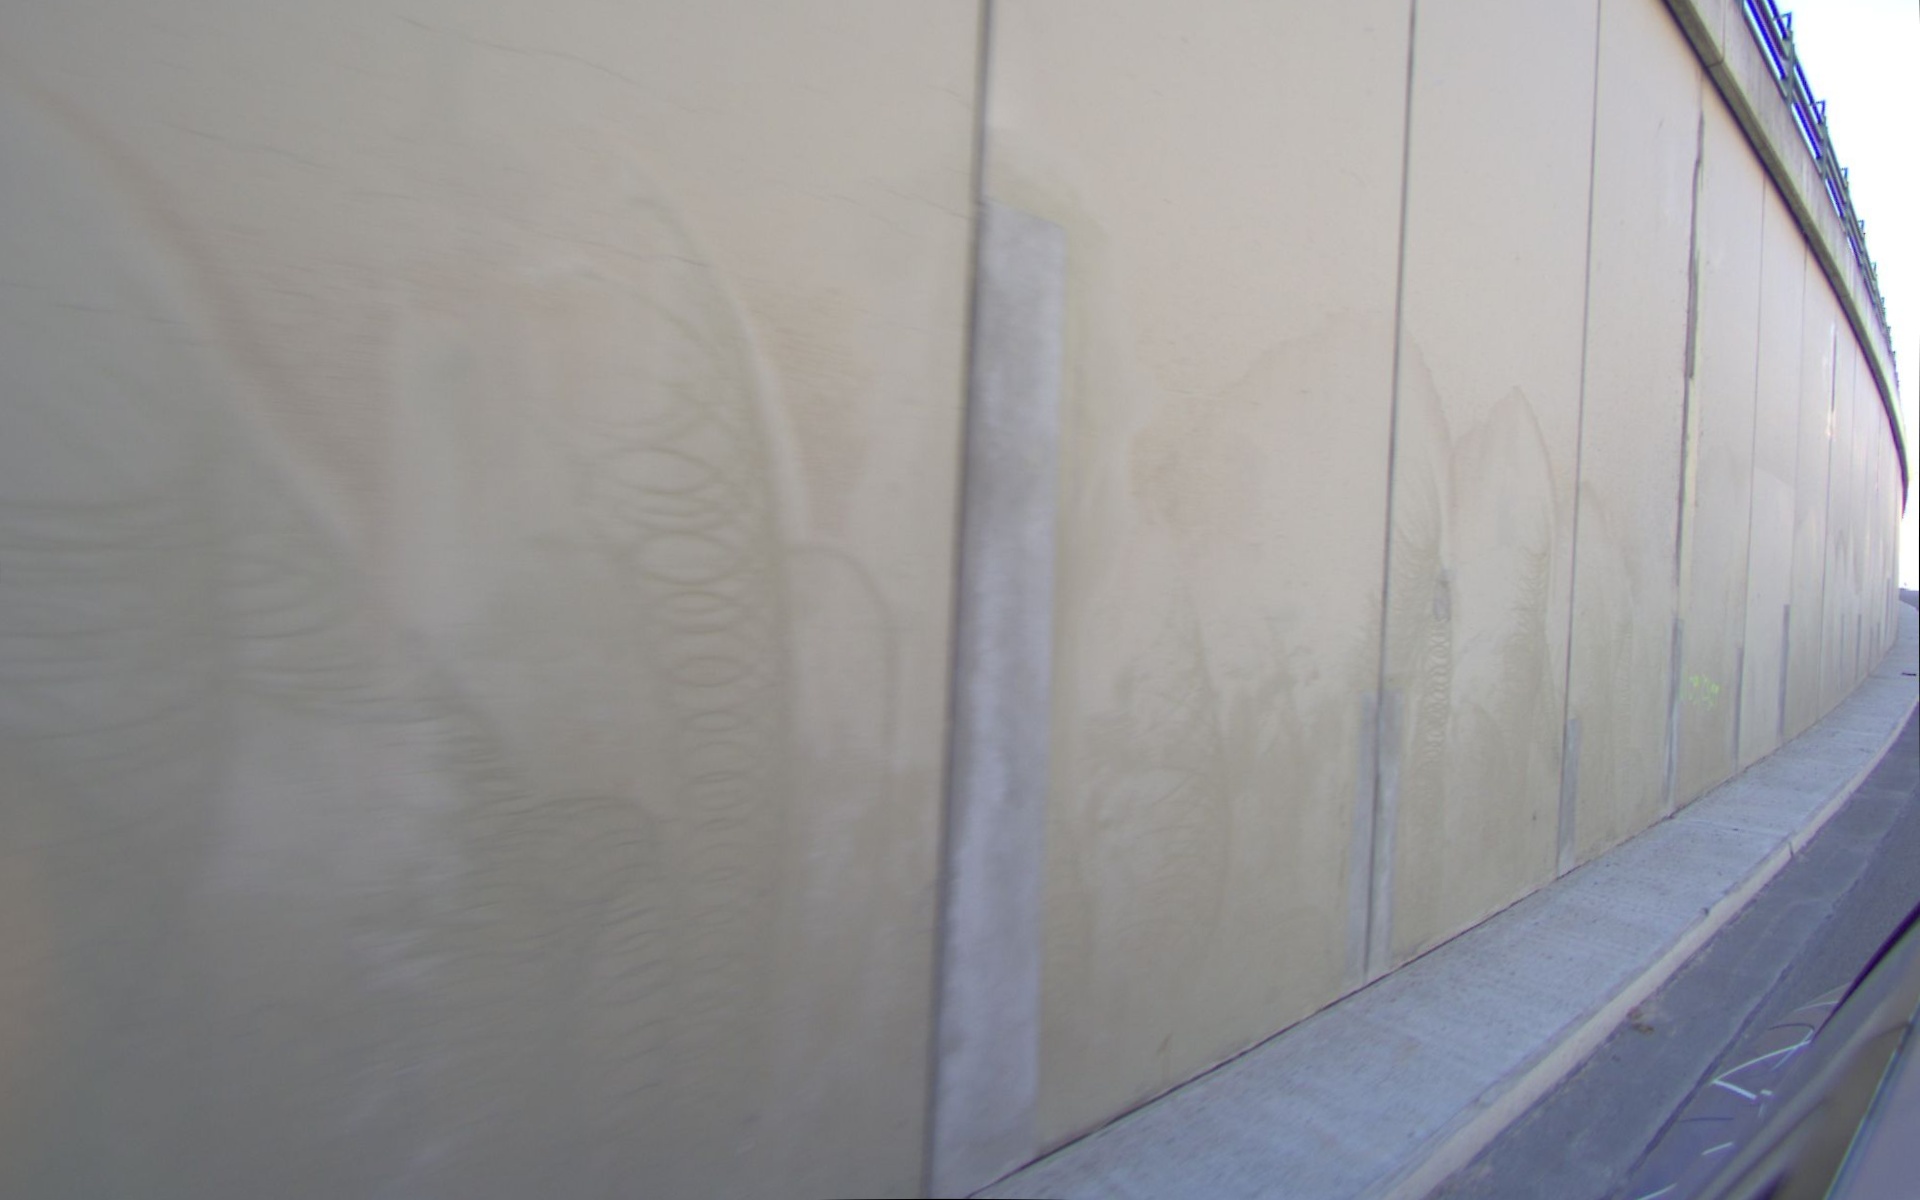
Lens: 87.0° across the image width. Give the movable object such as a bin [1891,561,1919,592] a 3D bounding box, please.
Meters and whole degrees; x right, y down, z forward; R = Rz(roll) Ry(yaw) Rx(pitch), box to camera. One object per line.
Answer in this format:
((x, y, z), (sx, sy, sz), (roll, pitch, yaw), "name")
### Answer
((82.988, -2.059, 87.990), (1.780, 2.483, 4.493), (3, 1, 27), "movable object such as a bin")
